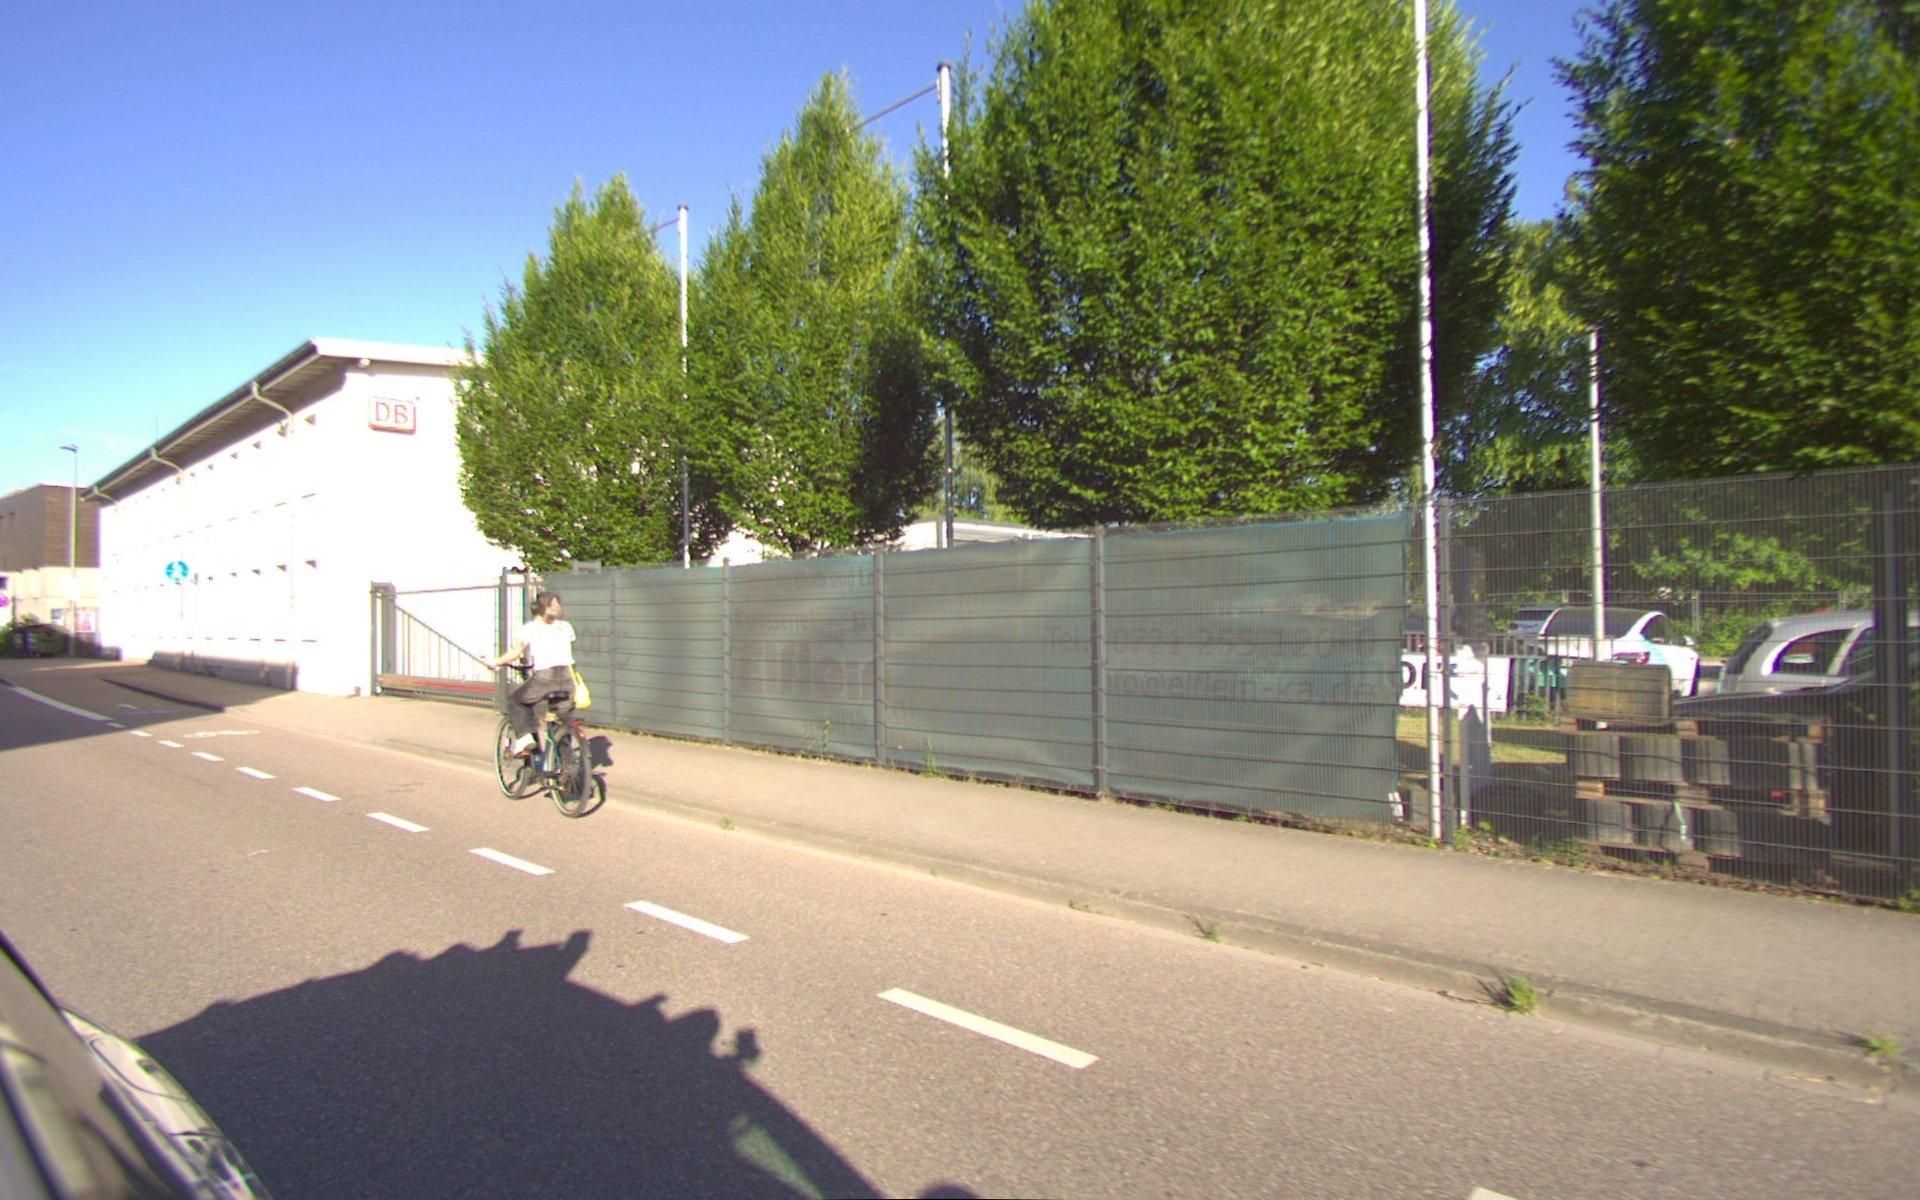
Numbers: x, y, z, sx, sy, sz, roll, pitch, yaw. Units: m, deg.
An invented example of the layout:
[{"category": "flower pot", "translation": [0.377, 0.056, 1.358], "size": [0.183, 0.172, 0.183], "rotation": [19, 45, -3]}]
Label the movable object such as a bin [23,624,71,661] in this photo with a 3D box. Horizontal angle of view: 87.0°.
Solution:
[{"category": "movable object such as a bin", "translation": [-38.592, 1.783, 42.788], "size": [1.368, 1.482, 1.190], "rotation": [-1, -1, 31]}]

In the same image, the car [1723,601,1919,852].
[{"category": "car", "translation": [7.339, 0.782, 6.304], "size": [3.998, 1.552, 1.850], "rotation": [-2, -3, 41]}]

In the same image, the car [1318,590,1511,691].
[{"category": "car", "translation": [7.991, 0.687, 17.627], "size": [1.875, 1.552, 3.943], "rotation": [-2, -3, 43]}]

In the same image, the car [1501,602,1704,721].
[{"category": "car", "translation": [9.765, 0.866, 15.252], "size": [1.875, 1.552, 3.943], "rotation": [-2, -3, 43]}]

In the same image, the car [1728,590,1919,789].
[{"category": "car", "translation": [8.980, 0.729, 8.418], "size": [3.998, 1.618, 1.850], "rotation": [-2, -3, 41]}]

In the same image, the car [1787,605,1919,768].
[{"category": "car", "translation": [10.742, 0.844, 9.928], "size": [3.998, 1.589, 1.850], "rotation": [-2, -3, 41]}]

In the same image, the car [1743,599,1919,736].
[{"category": "car", "translation": [12.133, 0.807, 12.327], "size": [3.998, 1.603, 1.850], "rotation": [-2, -3, 41]}]

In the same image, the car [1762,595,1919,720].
[{"category": "car", "translation": [13.776, 0.777, 13.928], "size": [4.201, 1.663, 1.941], "rotation": [-2, -3, 41]}]

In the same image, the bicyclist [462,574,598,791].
[{"category": "bicyclist", "translation": [-3.495, 0.636, 8.227], "size": [0.833, 1.640, 0.738], "rotation": [-2, -2, 41]}]

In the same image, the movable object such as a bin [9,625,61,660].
[{"category": "movable object such as a bin", "translation": [-39.769, 1.812, 43.508], "size": [1.284, 1.482, 1.350], "rotation": [-1, -1, 31]}]

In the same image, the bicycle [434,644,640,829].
[{"category": "bicycle", "translation": [-3.484, 1.019, 8.228], "size": [2.171, 1.298, 0.660], "rotation": [-2, -2, 41]}]
